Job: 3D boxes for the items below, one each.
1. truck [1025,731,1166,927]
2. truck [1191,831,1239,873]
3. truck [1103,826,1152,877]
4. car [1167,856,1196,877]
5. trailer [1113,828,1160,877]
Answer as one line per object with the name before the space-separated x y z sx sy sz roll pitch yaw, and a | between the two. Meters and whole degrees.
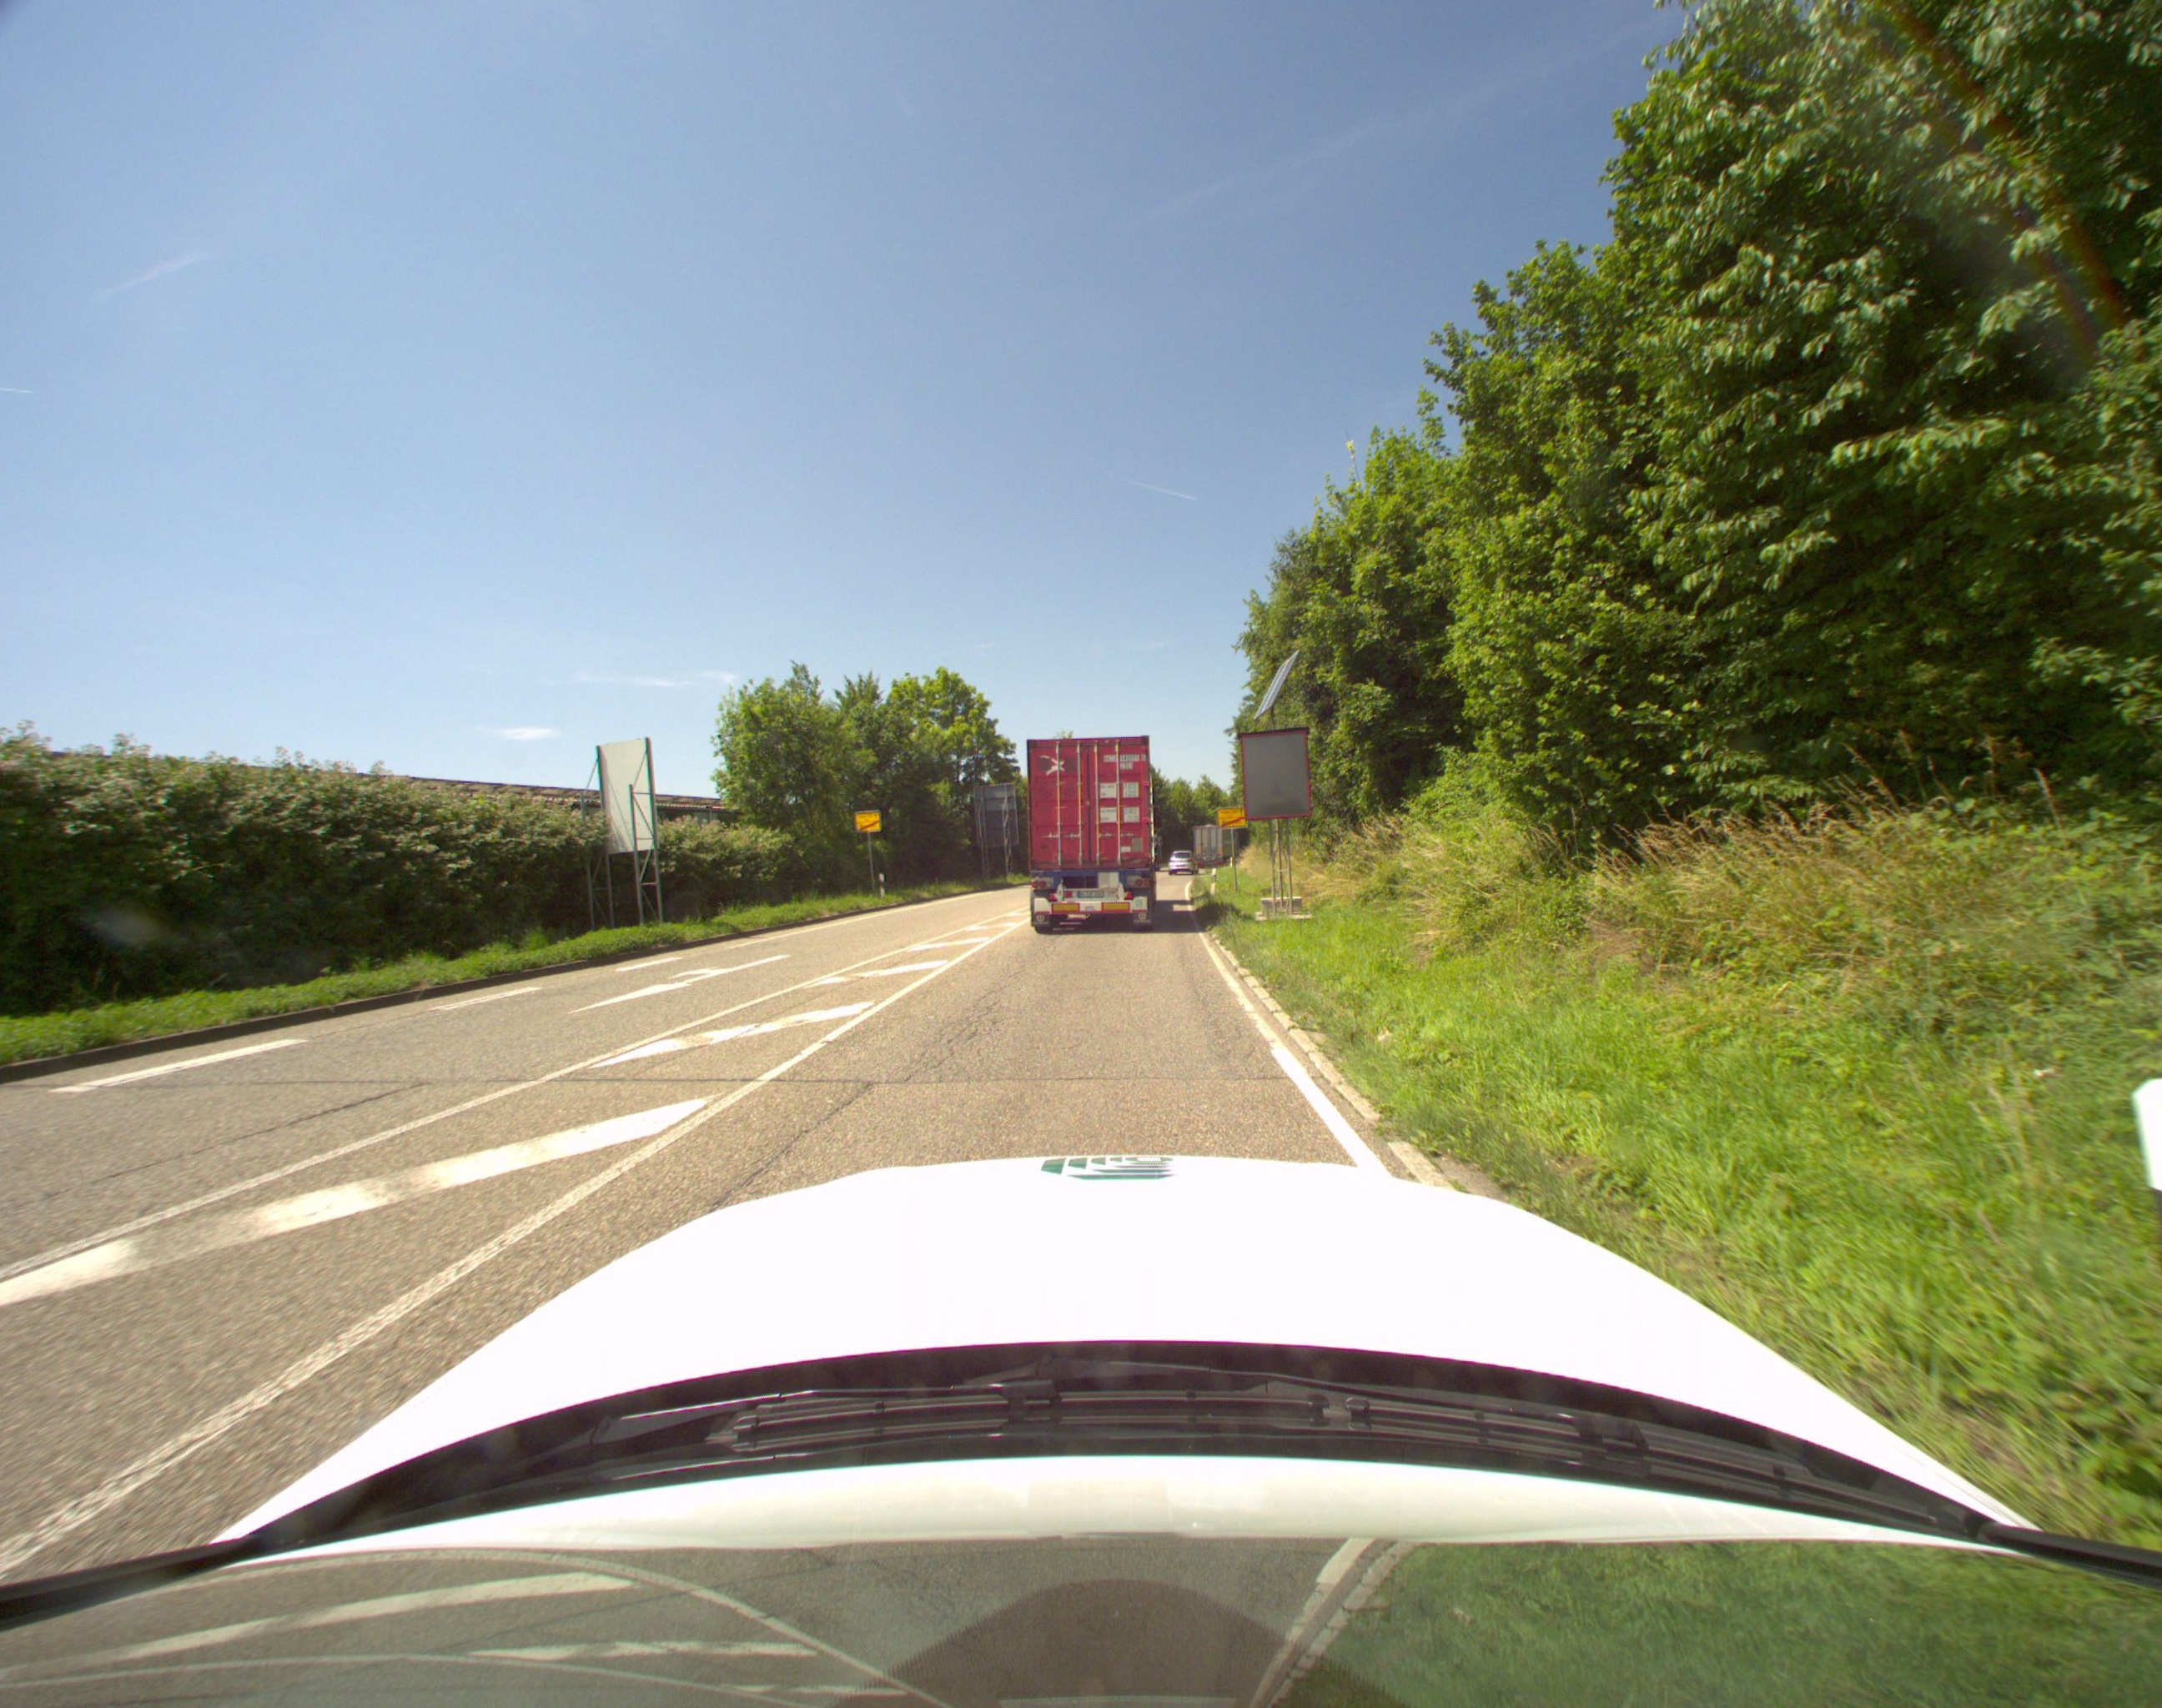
truck | 0.966 -0.405 22.543 2.634 3.806 13.382 0 -1 6
truck | 13.174 -0.148 78.998 2.899 3.717 13.416 -1 0 16
truck | 3.718 -0.181 63.316 2.561 3.680 7.901 -1 0 12
car | 7.167 0.856 57.627 1.821 1.433 4.011 -1 0 10
trailer | 4.729 -0.064 67.933 2.560 3.819 8.944 -1 0 12
